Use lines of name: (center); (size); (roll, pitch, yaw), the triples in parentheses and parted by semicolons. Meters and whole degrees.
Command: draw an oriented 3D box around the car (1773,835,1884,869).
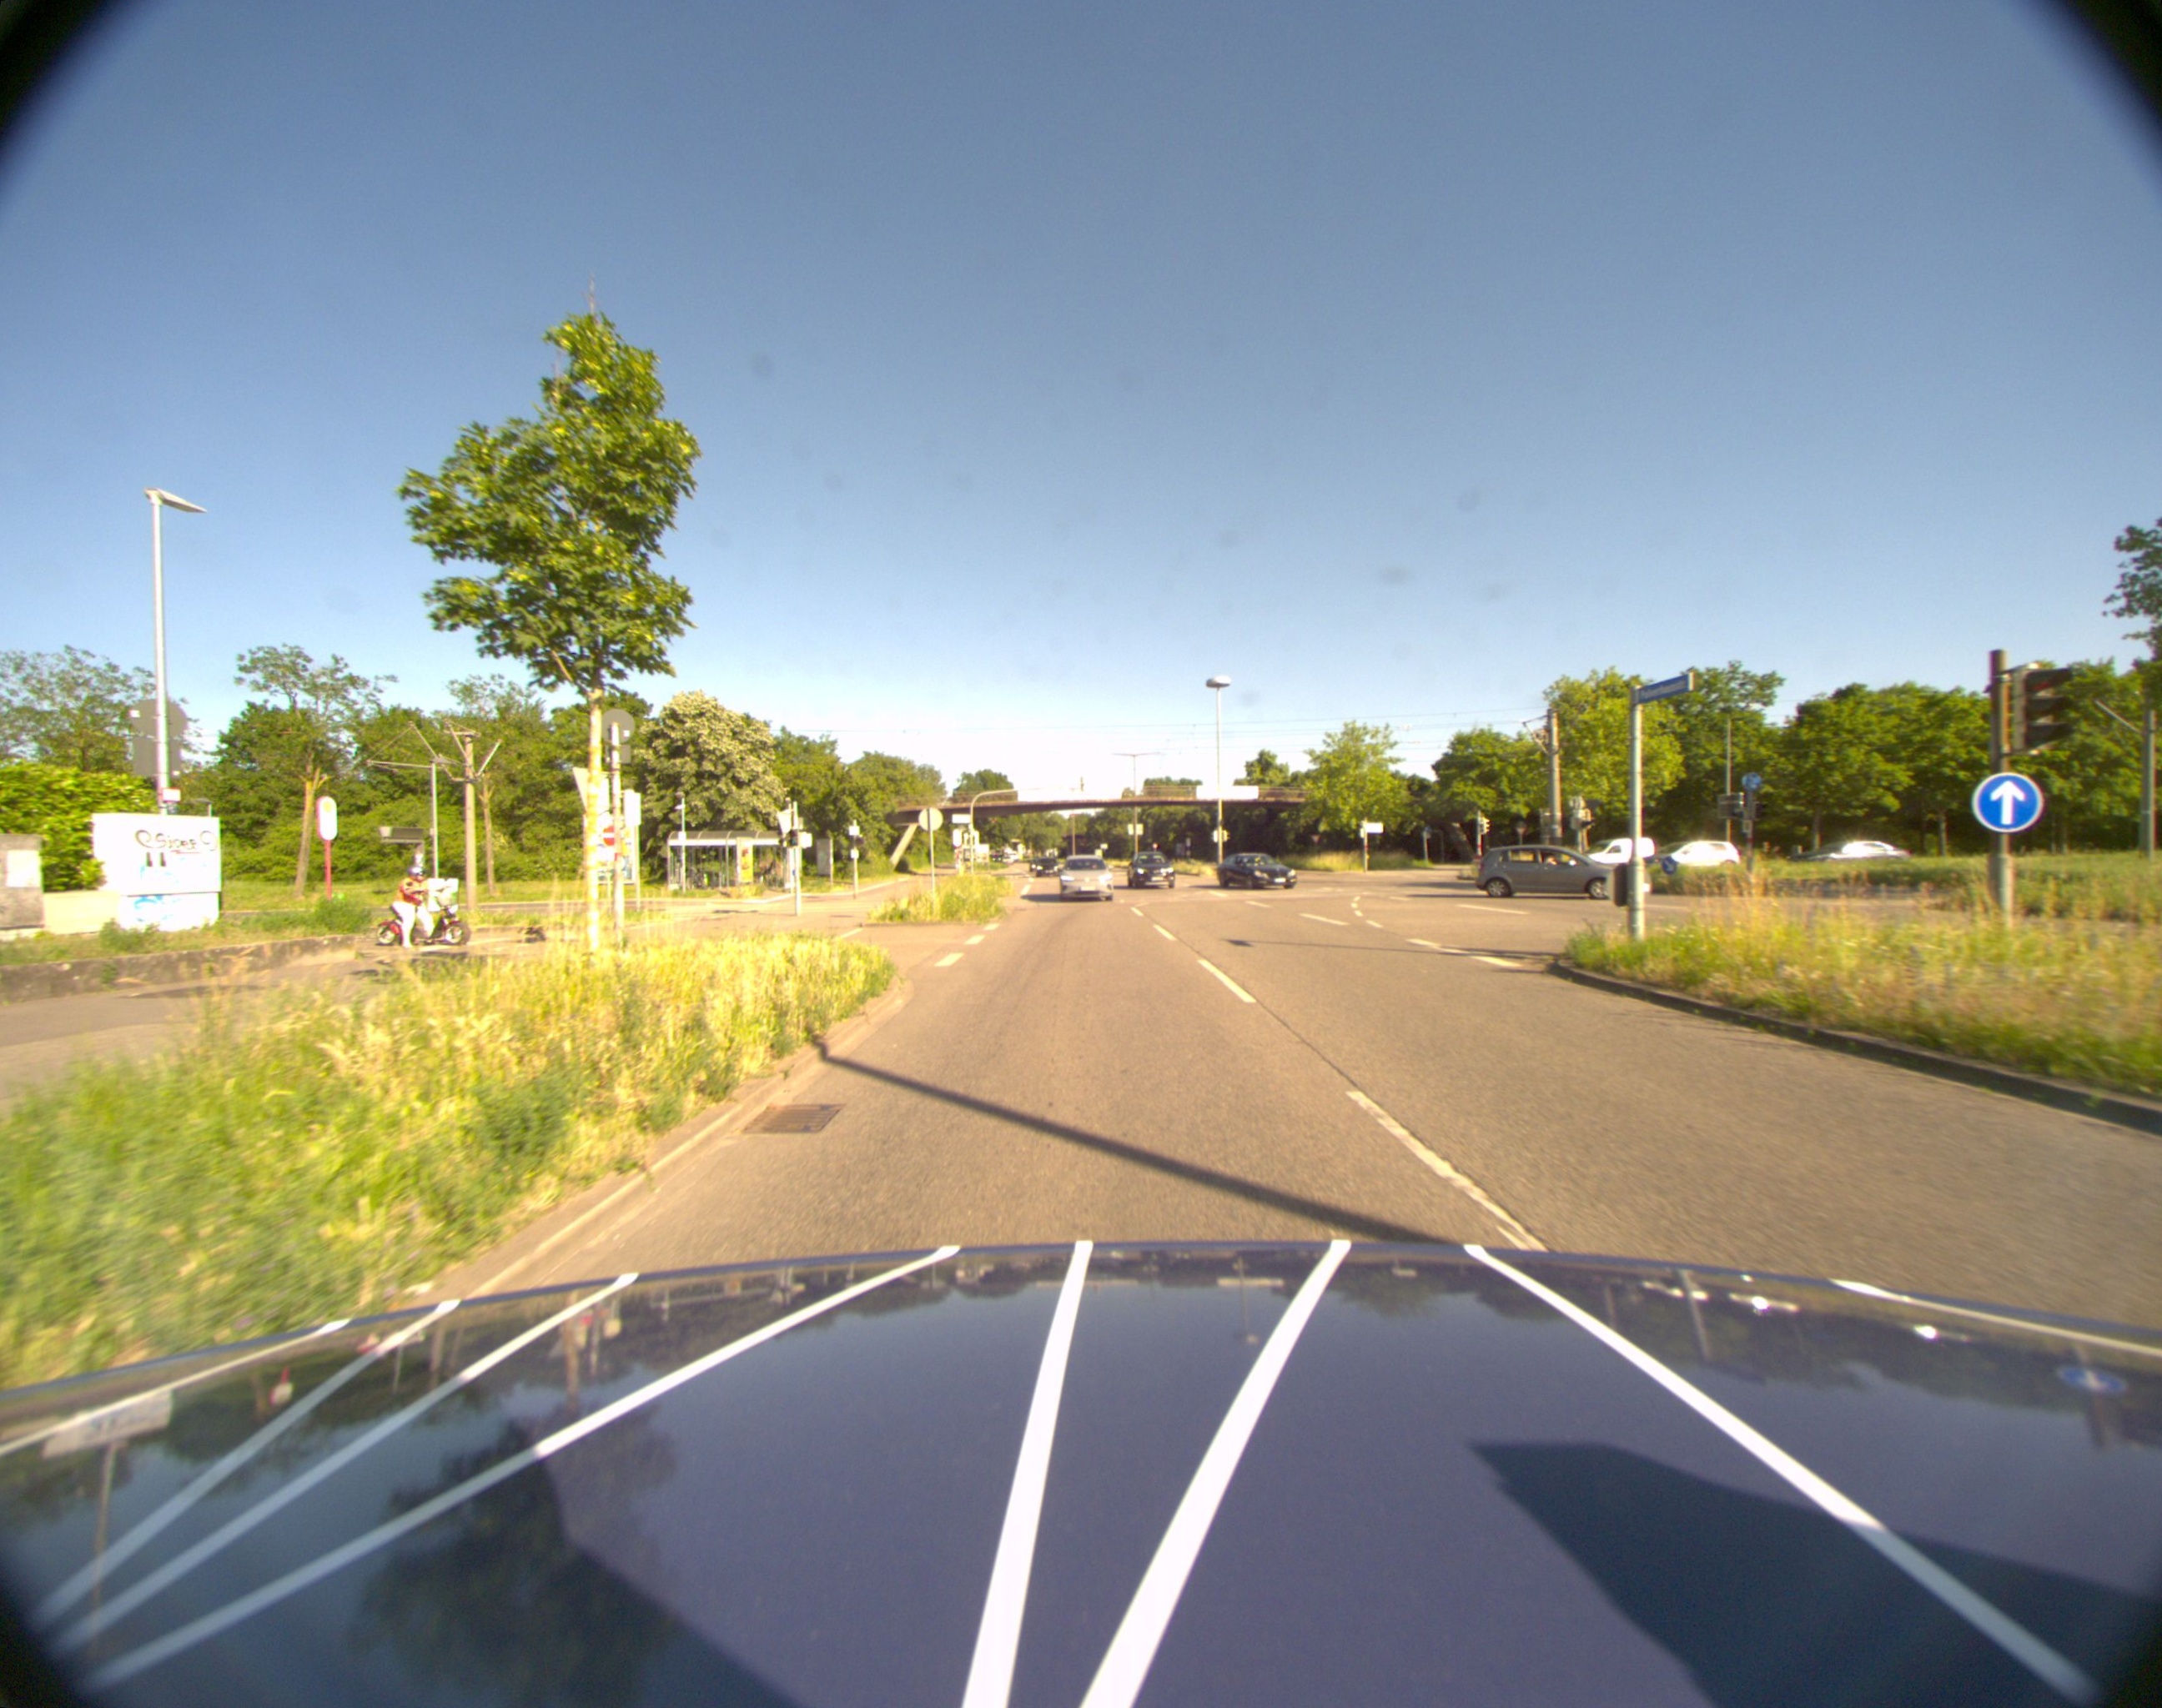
car: (36.837, -0.107, 37.507); (3.925, 1.551, 1.851); (-2, 1, -6)

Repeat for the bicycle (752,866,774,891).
bicycle: (-15.901, 1.224, 38.032); (0.431, 1.062, 1.783); (1, 5, -2)

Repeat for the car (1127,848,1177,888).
car: (3.200, 0.585, 34.927); (1.714, 1.653, 3.855); (-2, 1, -3)

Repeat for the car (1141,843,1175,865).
car: (5.530, 0.015, 55.182); (1.796, 1.487, 4.000); (1, 0, -4)

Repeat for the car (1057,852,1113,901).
car: (0.231, 0.767, 28.130); (1.801, 1.664, 4.240); (-1, 0, 4)

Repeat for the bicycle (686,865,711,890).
bicycle: (-19.236, 1.184, 38.228); (0.431, 1.062, 1.783); (1, 5, -2)

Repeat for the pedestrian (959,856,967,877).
pedestrian: (-9.228, 0.991, 59.230); (0.589, 1.652, 0.716); (0, 1, -7)

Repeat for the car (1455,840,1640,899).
car: (13.768, 0.443, 22.579); (4.374, 1.561, 1.851); (-1, 1, 43)

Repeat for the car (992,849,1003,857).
car: (-16.426, -0.225, 149.531); (1.874, 1.611, 3.833); (-2, 0, -9)

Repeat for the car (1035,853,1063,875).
car: (-2.510, 0.765, 58.834); (1.874, 1.611, 3.834); (-2, 0, -7)

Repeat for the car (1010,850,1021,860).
car: (-13.697, 0.116, 158.634); (2.000, 2.002, 3.996); (-2, 0, -9)

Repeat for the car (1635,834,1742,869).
car: (29.674, -0.117, 37.172); (3.925, 1.551, 1.851); (-2, 1, -6)

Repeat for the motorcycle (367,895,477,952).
motorcycle: (-12.797, 1.348, 14.780); (1.760, 1.065, 0.451); (0, 1, 1)

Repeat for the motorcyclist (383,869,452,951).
motorcyclist: (-12.901, 1.074, 14.795); (0.695, 1.549, 0.700); (0, 1, 1)

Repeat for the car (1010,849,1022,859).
car: (-11.396, 0.030, 132.649); (1.874, 1.611, 3.834); (-2, 0, -7)

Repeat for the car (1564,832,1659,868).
car: (28.331, -0.228, 40.618); (3.999, 1.744, 1.776); (-2, 1, -6)

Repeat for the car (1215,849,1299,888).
car: (7.351, 0.569, 32.263); (1.780, 1.478, 4.524); (-1, 1, -11)

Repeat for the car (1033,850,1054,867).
car: (-3.916, 0.445, 79.399); (1.874, 1.611, 3.834); (-2, 0, -7)

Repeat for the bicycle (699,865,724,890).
bicycle: (-18.574, 1.179, 38.212); (0.431, 1.062, 1.783); (1, 5, -2)
